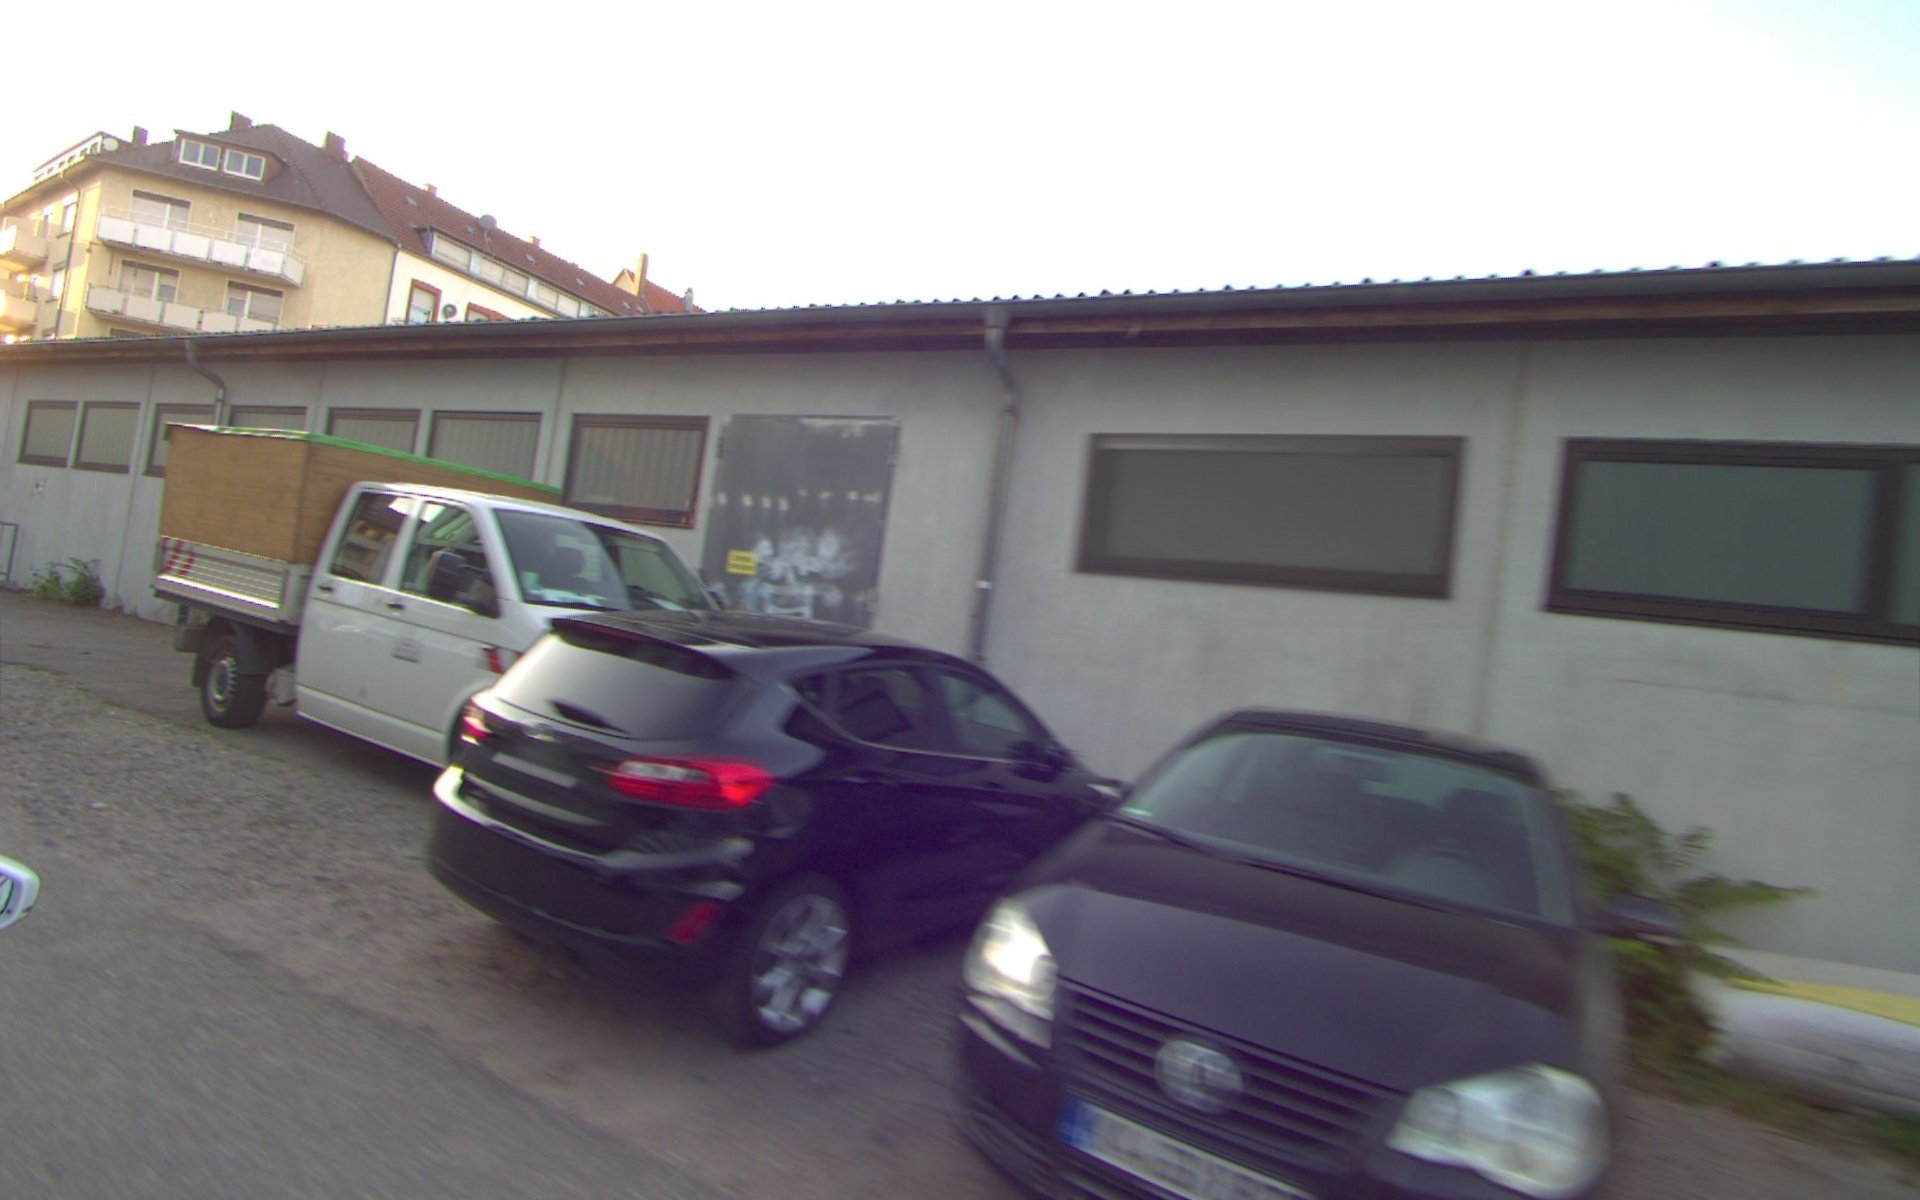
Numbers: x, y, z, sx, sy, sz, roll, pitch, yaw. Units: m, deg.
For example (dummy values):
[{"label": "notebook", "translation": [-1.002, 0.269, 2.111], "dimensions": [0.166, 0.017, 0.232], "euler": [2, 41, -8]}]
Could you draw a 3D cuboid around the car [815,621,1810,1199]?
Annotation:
[{"label": "car", "translation": [1.439, 1.114, 3.692], "dimensions": [1.814, 1.459, 3.771], "euler": [6, -4, 31]}]

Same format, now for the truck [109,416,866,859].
[{"label": "truck", "translation": [-3.690, 0.032, 7.401], "dimensions": [5.616, 2.225, 2.103], "euler": [7, -3, 32]}]

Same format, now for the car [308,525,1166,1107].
[{"label": "car", "translation": [-0.645, 0.834, 4.987], "dimensions": [1.860, 1.552, 3.769], "euler": [8, -3, 33]}]
